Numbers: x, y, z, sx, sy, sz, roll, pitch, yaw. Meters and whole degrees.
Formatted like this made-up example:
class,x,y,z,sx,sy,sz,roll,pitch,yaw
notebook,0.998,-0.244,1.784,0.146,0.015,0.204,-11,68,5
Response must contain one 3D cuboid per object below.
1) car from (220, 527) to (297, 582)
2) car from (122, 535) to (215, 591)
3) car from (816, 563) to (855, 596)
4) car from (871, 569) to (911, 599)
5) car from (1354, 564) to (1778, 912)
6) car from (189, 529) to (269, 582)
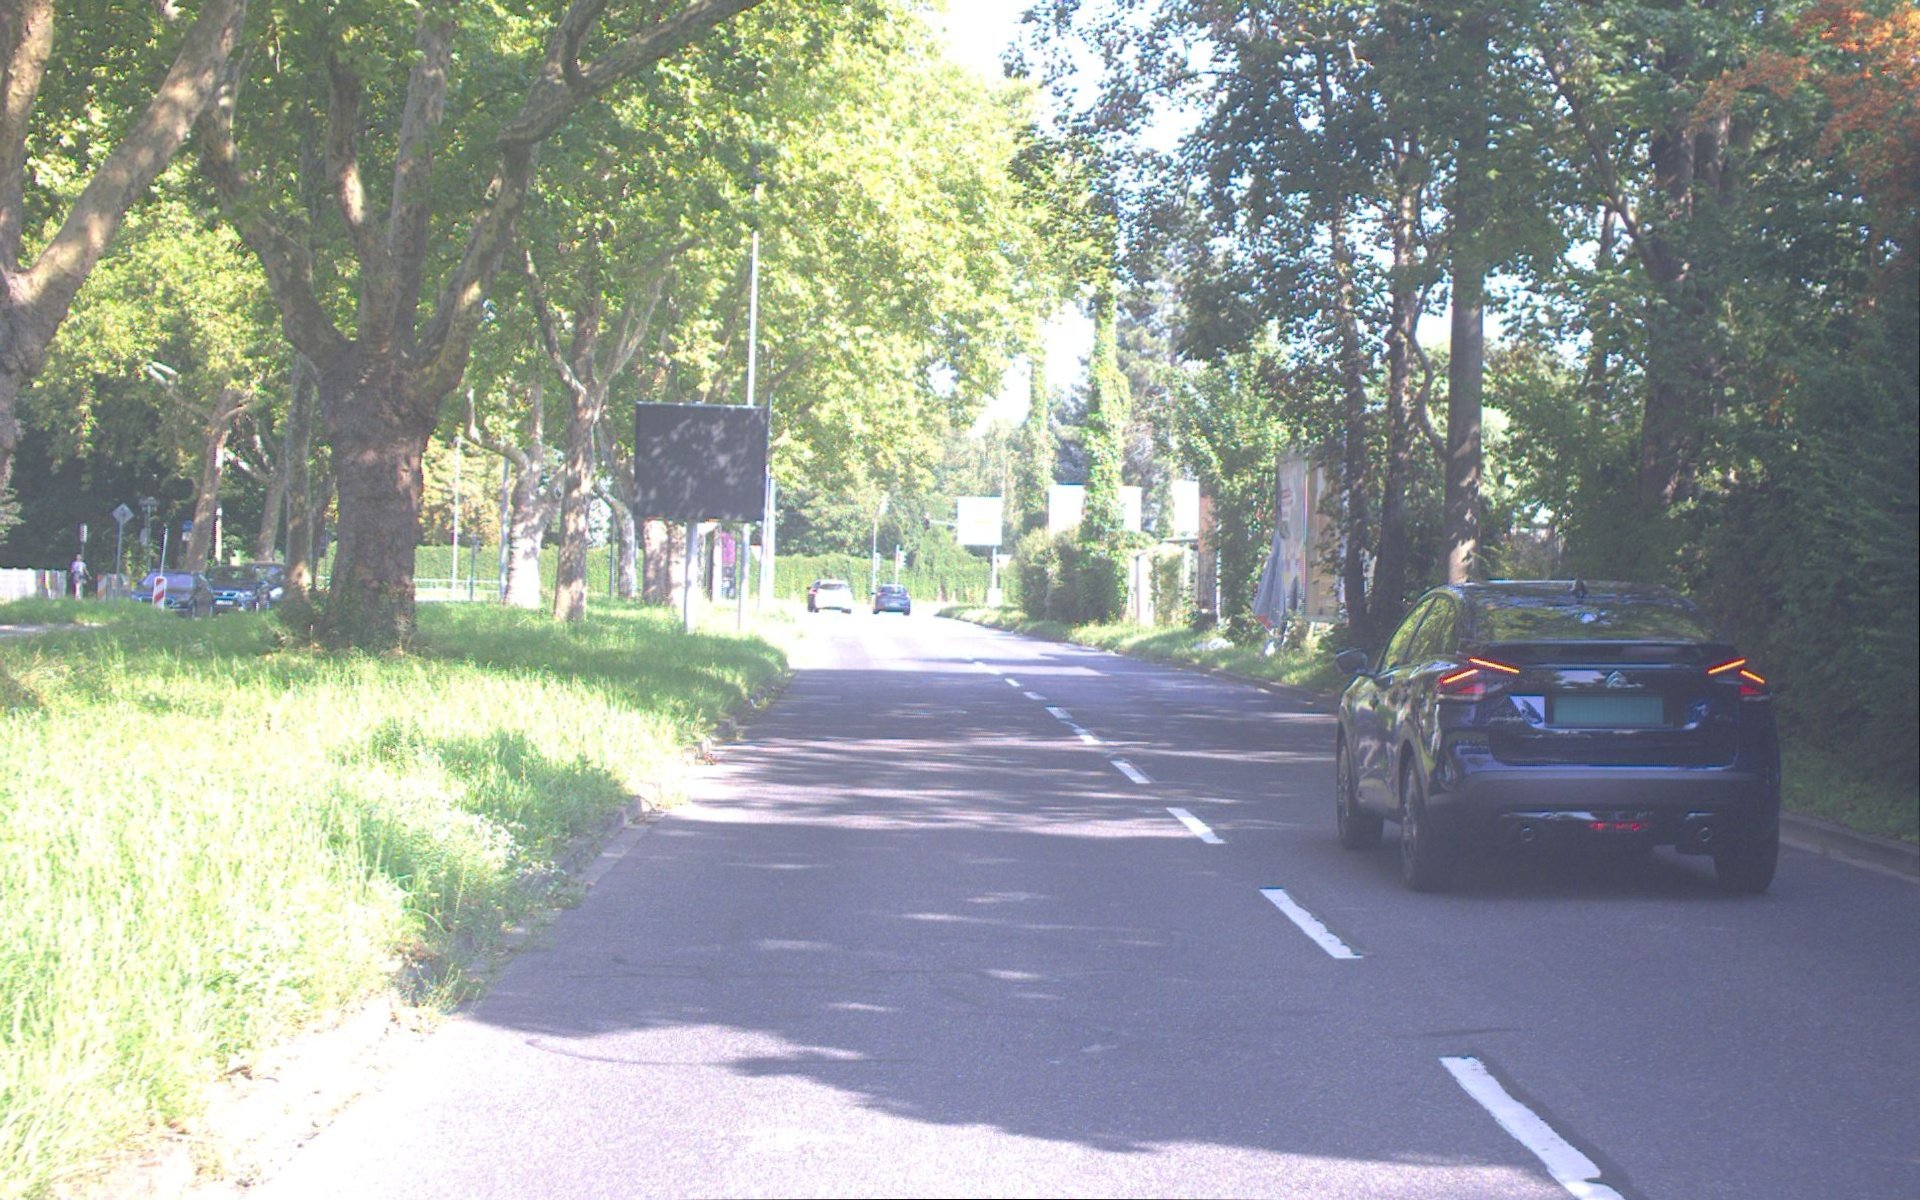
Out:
class,x,y,z,sx,sy,sz,roll,pitch,yaw
car,-23.077,-1.481,113.215,1.699,1.726,4.660,2,0,-2
car,-22.257,-1.048,96.827,1.699,1.503,4.541,1,1,-2
car,-5.716,-0.952,158.200,1.687,1.457,4.000,2,0,-2
car,-3.395,-0.778,168.118,1.797,1.396,4.000,2,0,-3
car,3.045,0.623,18.036,1.645,1.583,4.254,1,0,3
car,-22.397,-1.366,105.416,1.699,1.562,4.000,2,1,-2
